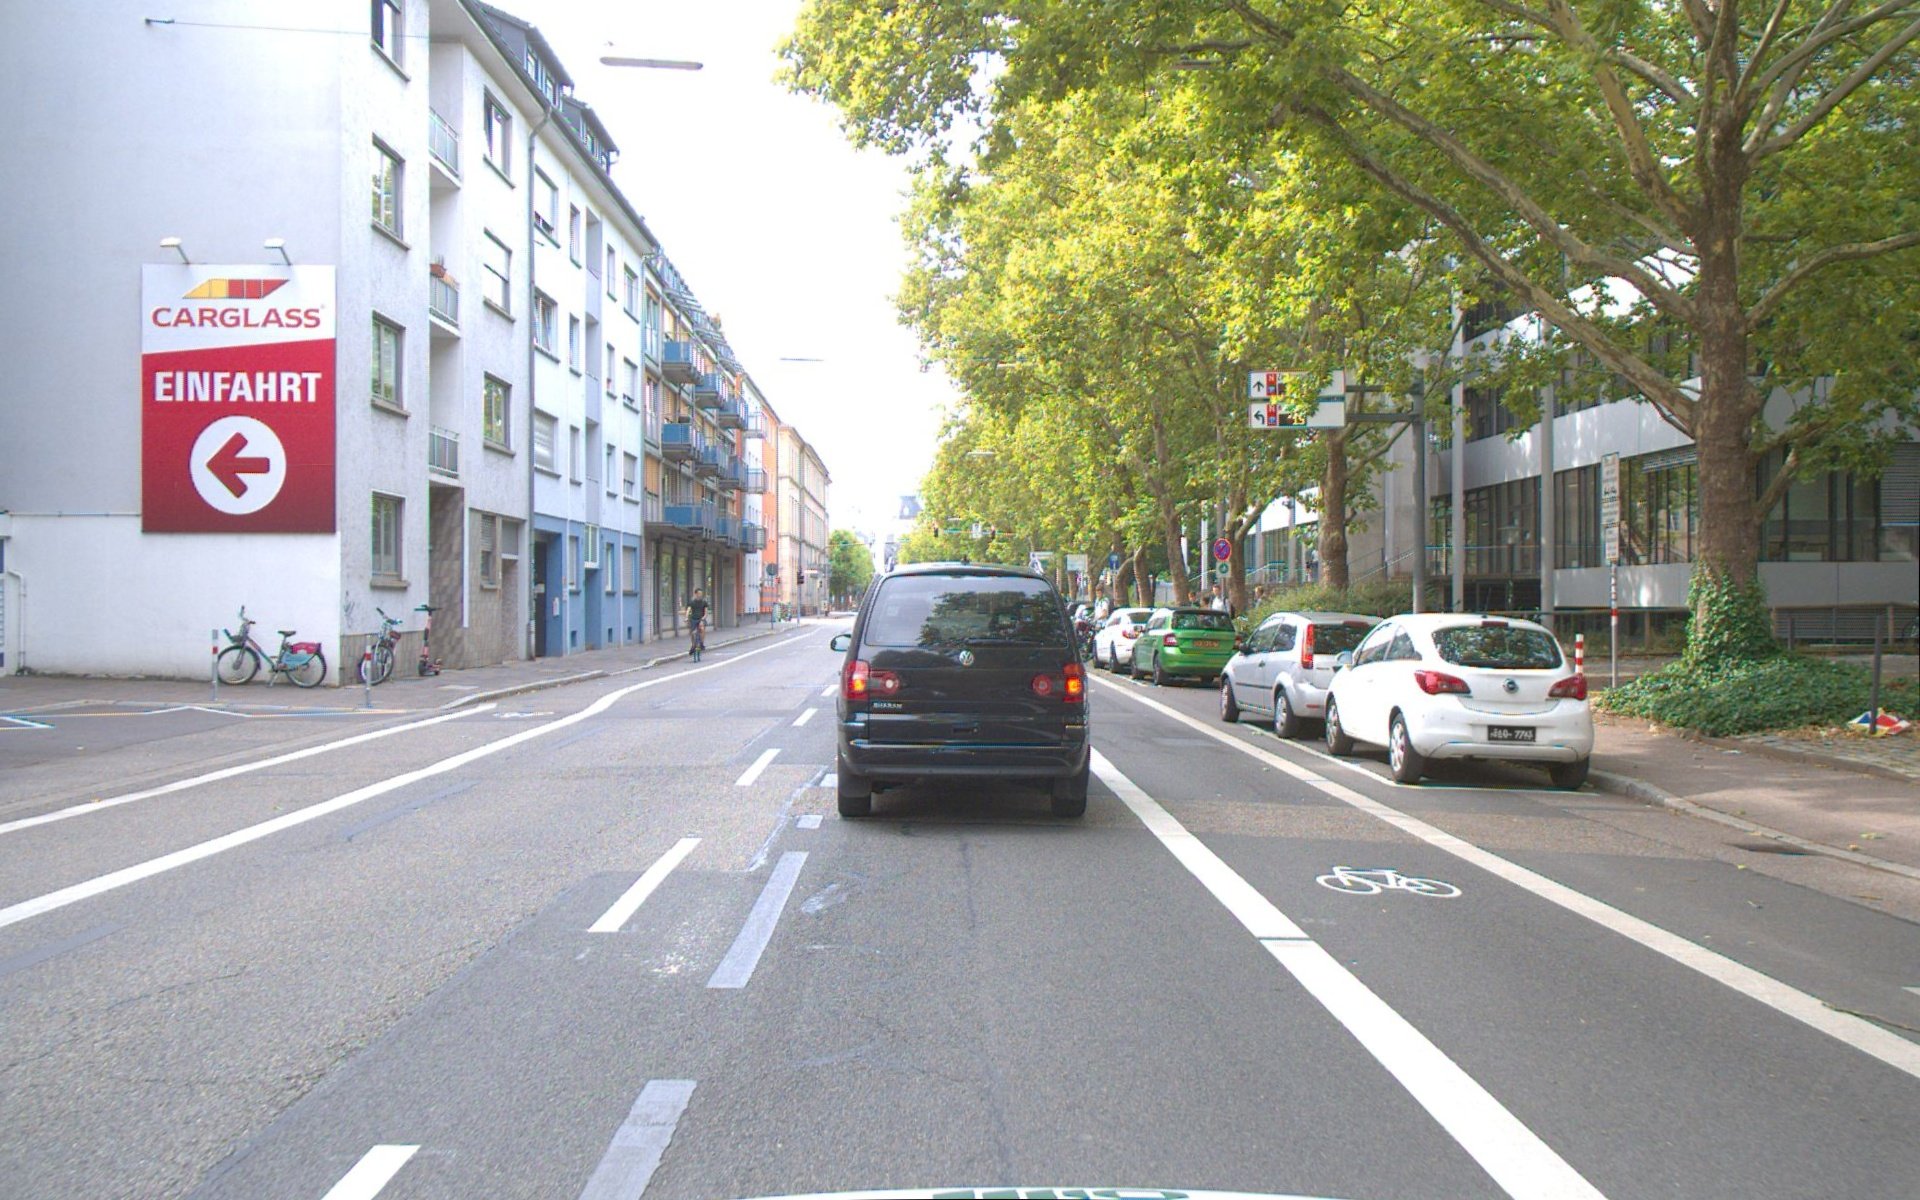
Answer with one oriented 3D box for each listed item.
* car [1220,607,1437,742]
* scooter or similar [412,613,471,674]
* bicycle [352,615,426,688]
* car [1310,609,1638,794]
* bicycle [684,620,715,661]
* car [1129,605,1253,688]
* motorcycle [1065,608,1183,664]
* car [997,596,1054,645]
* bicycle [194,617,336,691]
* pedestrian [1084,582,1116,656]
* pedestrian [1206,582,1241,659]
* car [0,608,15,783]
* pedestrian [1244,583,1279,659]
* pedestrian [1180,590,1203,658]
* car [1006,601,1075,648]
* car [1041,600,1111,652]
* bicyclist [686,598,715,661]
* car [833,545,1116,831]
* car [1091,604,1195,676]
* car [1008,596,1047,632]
[{"bbox_3d":[4.406,0.844,20.261,1.609,1.438,3.412,2,0,-5],"label":"car"},{"bbox_3d":[-9.246,0.787,29.557,0.619,1.052,2.012,1,-2,-7],"label":"scooter or similar"},{"bbox_3d":[-9.168,0.808,26.621,0.618,1.052,2.014,1,2,-5],"label":"bicycle"},{"bbox_3d":[4.670,0.844,15.726,1.641,1.418,4.460,2,0,-1],"label":"car"},{"bbox_3d":[-6.864,1.081,43.647,0.618,1.052,2.013,1,-2,-4],"label":"bicycle"},{"bbox_3d":[4.376,0.850,31.818,1.609,1.438,3.412,2,0,-5],"label":"car"},{"bbox_3d":[3.988,0.875,40.367,2.780,1.348,0.765,0,0,-2],"label":"motorcycle"},{"bbox_3d":[2.394,0.735,61.353,1.708,1.719,3.801,0,0,-4],"label":"car"},{"bbox_3d":[-10.557,0.817,25.125,1.967,1.052,0.410,1,1,0],"label":"bicycle"},{"bbox_3d":[3.531,0.473,41.810,0.751,1.863,0.516,0,0,-1],"label":"pedestrian"},{"bbox_3d":[6.385,0.499,40.106,0.751,1.863,0.516,0,0,-1],"label":"pedestrian"},{"bbox_3d":[-9.414,0.735,12.787,3.276,1.426,1.503,2,0,-3],"label":"car"},{"bbox_3d":[7.403,0.510,40.628,0.751,1.863,0.516,0,0,-1],"label":"pedestrian"},{"bbox_3d":[5.888,0.609,42.031,0.499,1.709,0.516,0,0,-1],"label":"pedestrian"},{"bbox_3d":[2.710,0.808,56.618,1.832,1.534,3.996,0,0,-5],"label":"car"},{"bbox_3d":[3.574,0.777,51.574,1.609,1.513,3.509,2,0,-5],"label":"car"},{"bbox_3d":[-6.841,0.786,43.621,0.640,1.639,0.655,1,-3,-4],"label":"bicyclist"},{"bbox_3d":[-0.032,0.567,12.351,1.776,1.797,3.735,1,0,-4],"label":"car"},{"bbox_3d":[3.985,0.846,36.521,1.609,1.419,3.509,2,0,-5],"label":"car"},{"bbox_3d":[3.455,0.714,85.189,1.752,1.803,3.999,0,0,-1],"label":"car"}]
